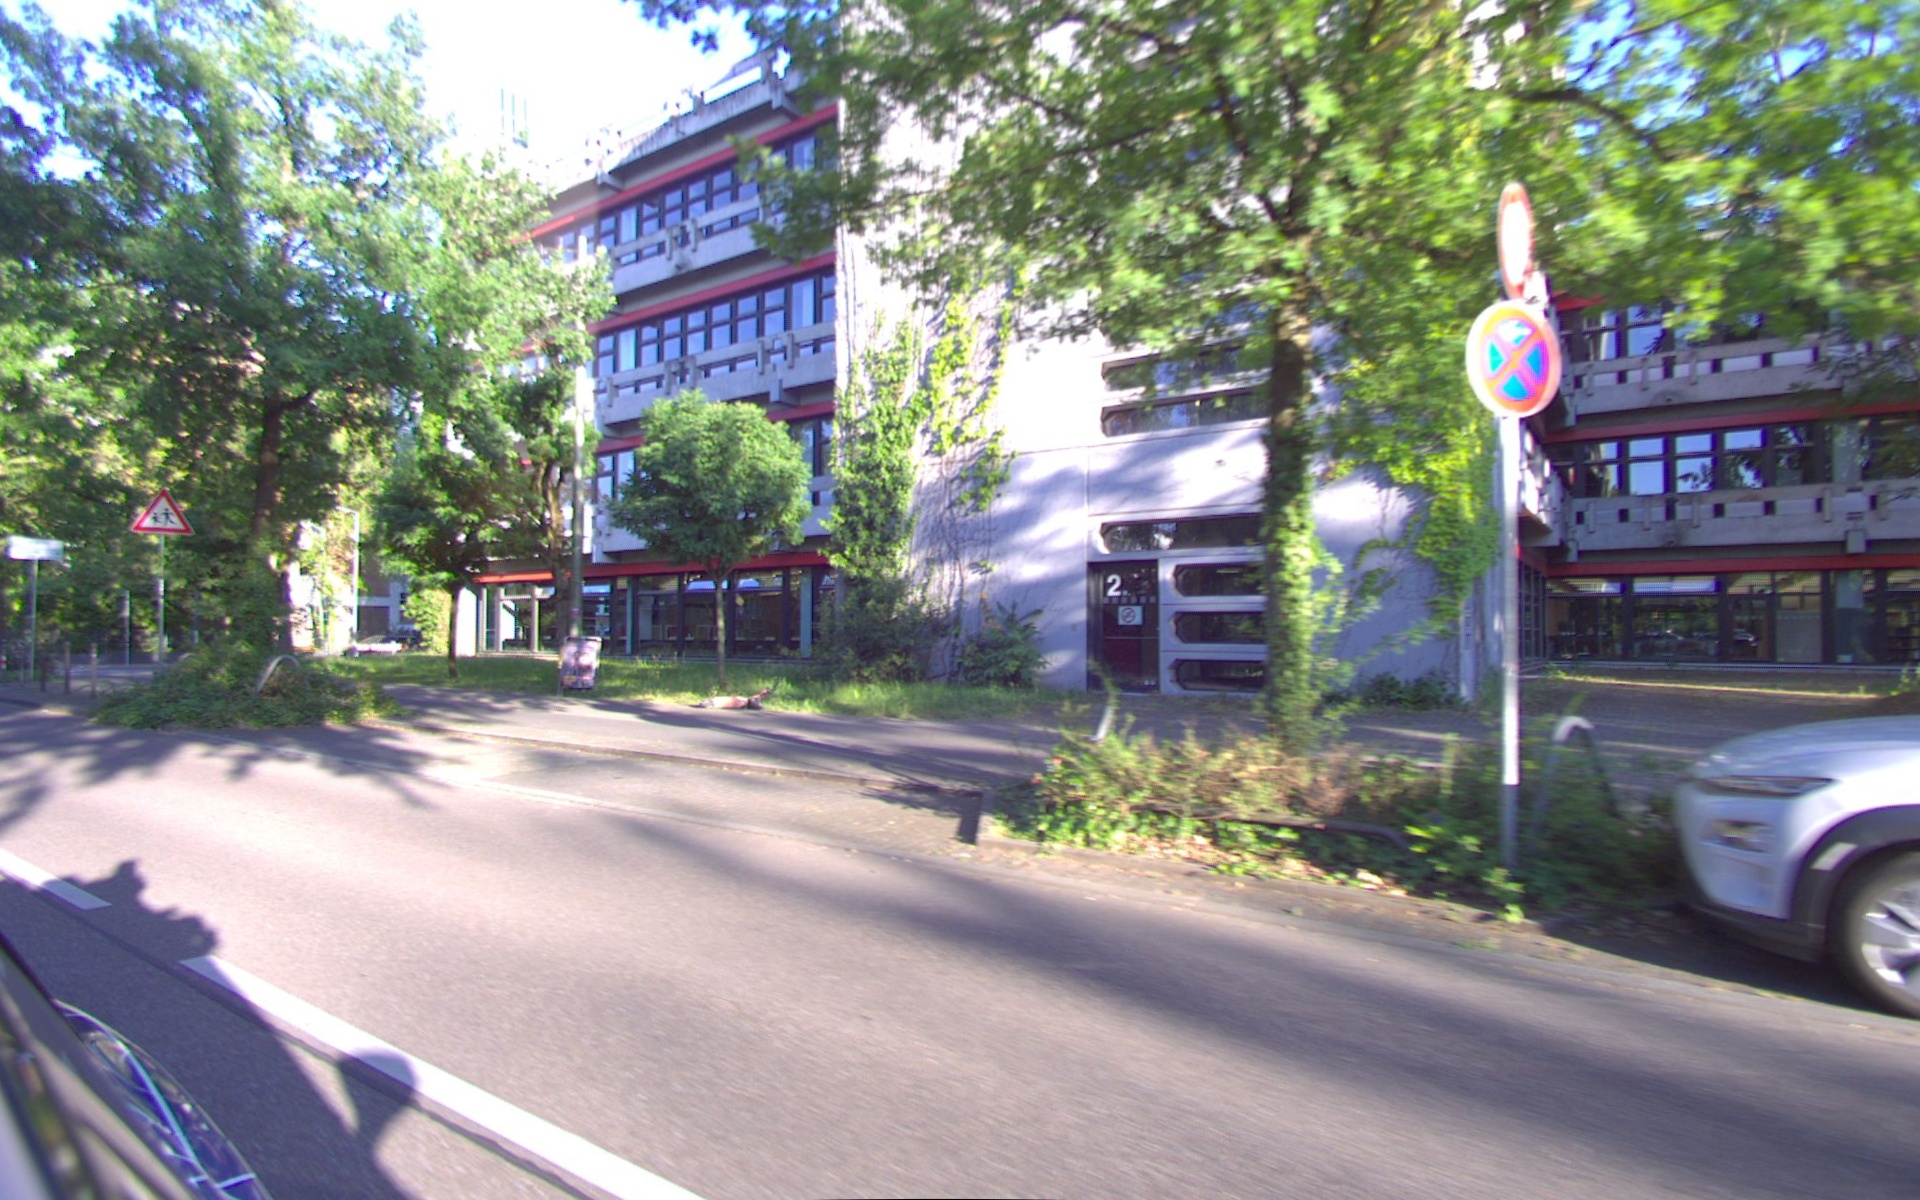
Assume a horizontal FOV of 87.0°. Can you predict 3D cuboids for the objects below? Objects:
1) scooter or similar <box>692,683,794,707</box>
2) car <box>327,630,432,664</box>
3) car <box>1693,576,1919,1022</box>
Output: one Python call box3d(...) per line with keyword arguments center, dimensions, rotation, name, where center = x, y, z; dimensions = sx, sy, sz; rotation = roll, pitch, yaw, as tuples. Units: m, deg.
box3d(center=(-3.577, 1.566, 16.779), dimensions=(1.241, 0.278, 1.157), rotation=(-1, -1, 20), name="scooter or similar")
box3d(center=(-26.923, 2.159, 47.061), dimensions=(1.767, 1.460, 3.930), rotation=(1, -1, 24), name="car")
box3d(center=(5.207, 0.730, 3.600), dimensions=(4.137, 1.628, 1.788), rotation=(-1, -2, 35), name="car")
